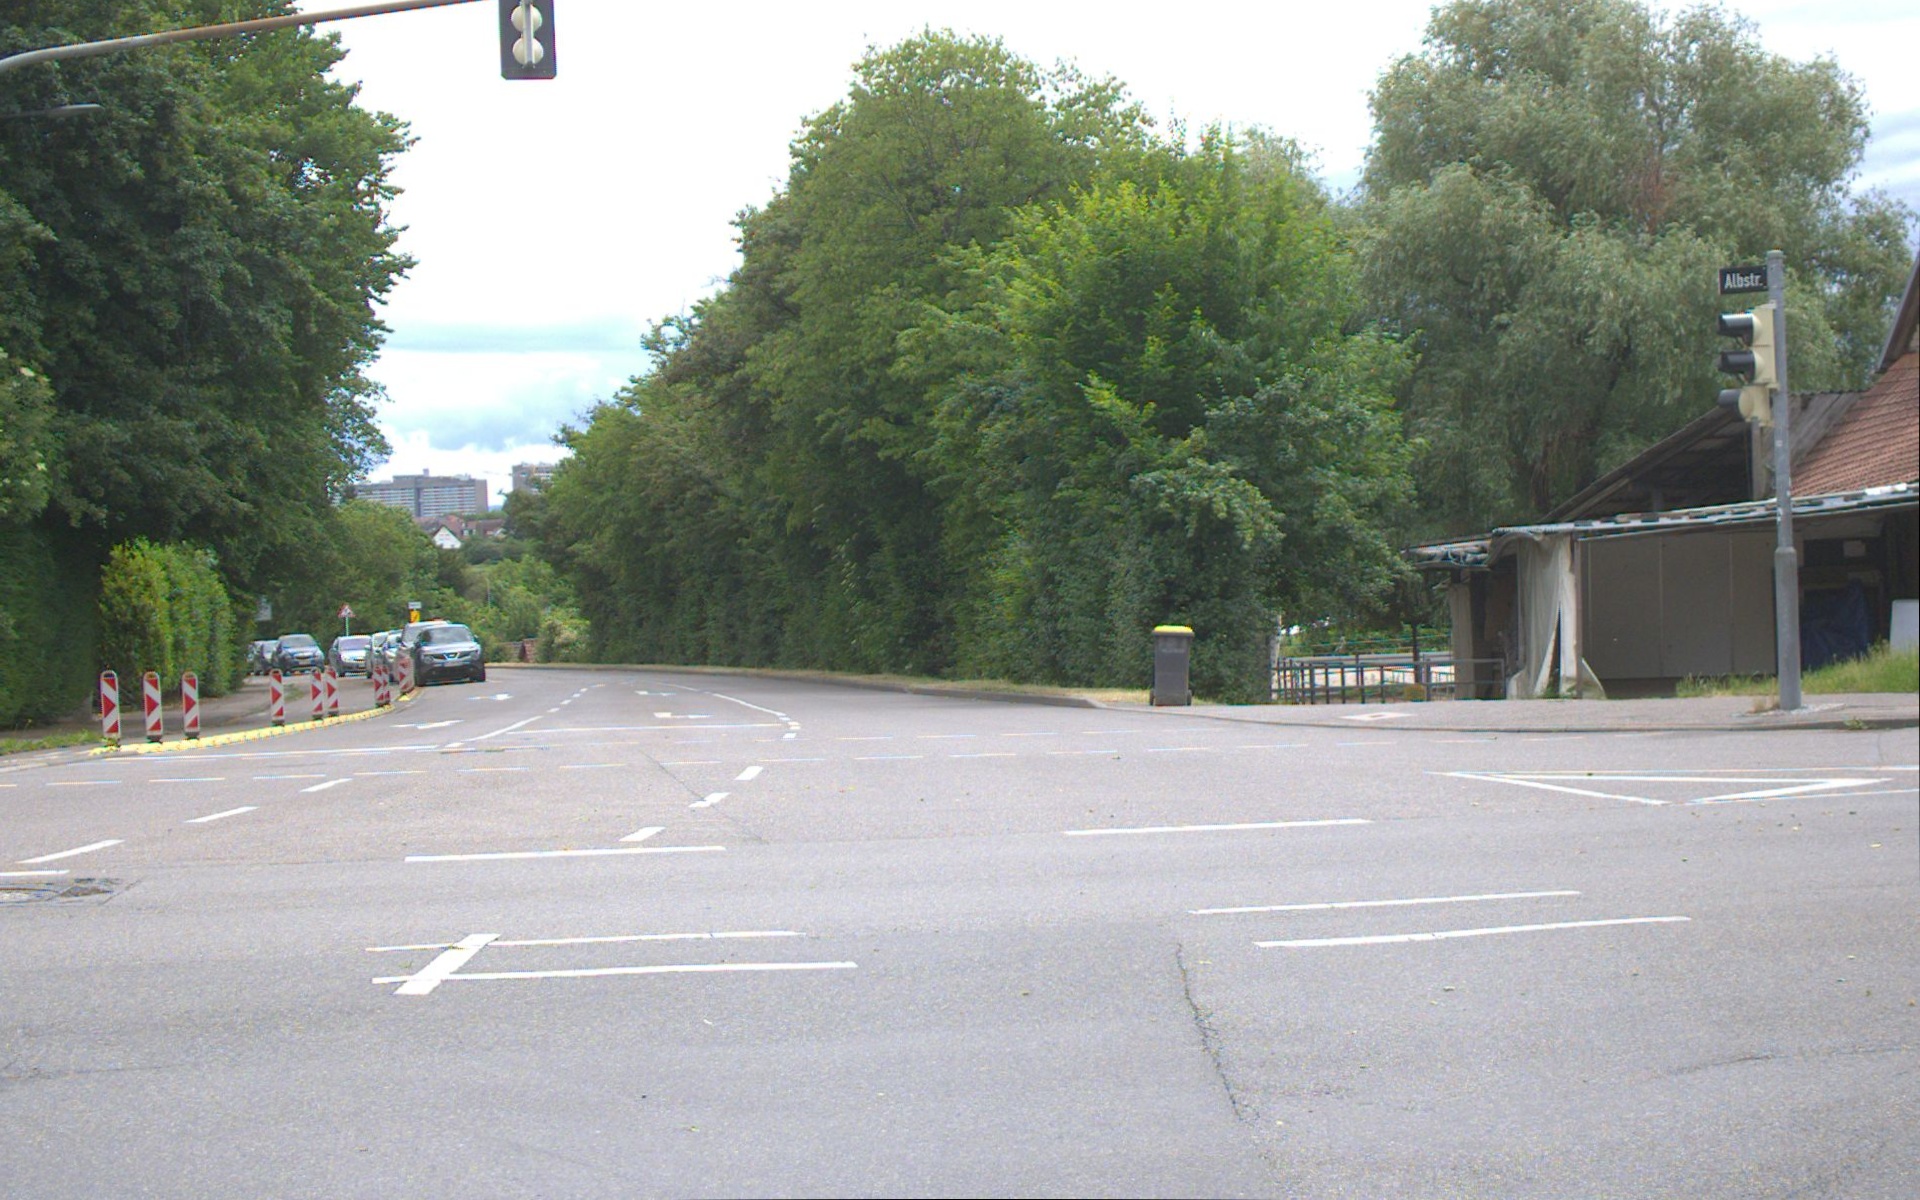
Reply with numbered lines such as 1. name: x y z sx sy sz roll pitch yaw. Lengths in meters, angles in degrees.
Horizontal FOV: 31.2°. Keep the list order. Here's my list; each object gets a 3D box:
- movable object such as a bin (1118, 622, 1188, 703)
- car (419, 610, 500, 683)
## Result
1. movable object such as a bin: 2.227 0.717 39.671 0.592 0.903 0.602 -2 1 27
2. car: -13.217 1.205 90.977 1.993 1.744 4.001 -2 1 -7
